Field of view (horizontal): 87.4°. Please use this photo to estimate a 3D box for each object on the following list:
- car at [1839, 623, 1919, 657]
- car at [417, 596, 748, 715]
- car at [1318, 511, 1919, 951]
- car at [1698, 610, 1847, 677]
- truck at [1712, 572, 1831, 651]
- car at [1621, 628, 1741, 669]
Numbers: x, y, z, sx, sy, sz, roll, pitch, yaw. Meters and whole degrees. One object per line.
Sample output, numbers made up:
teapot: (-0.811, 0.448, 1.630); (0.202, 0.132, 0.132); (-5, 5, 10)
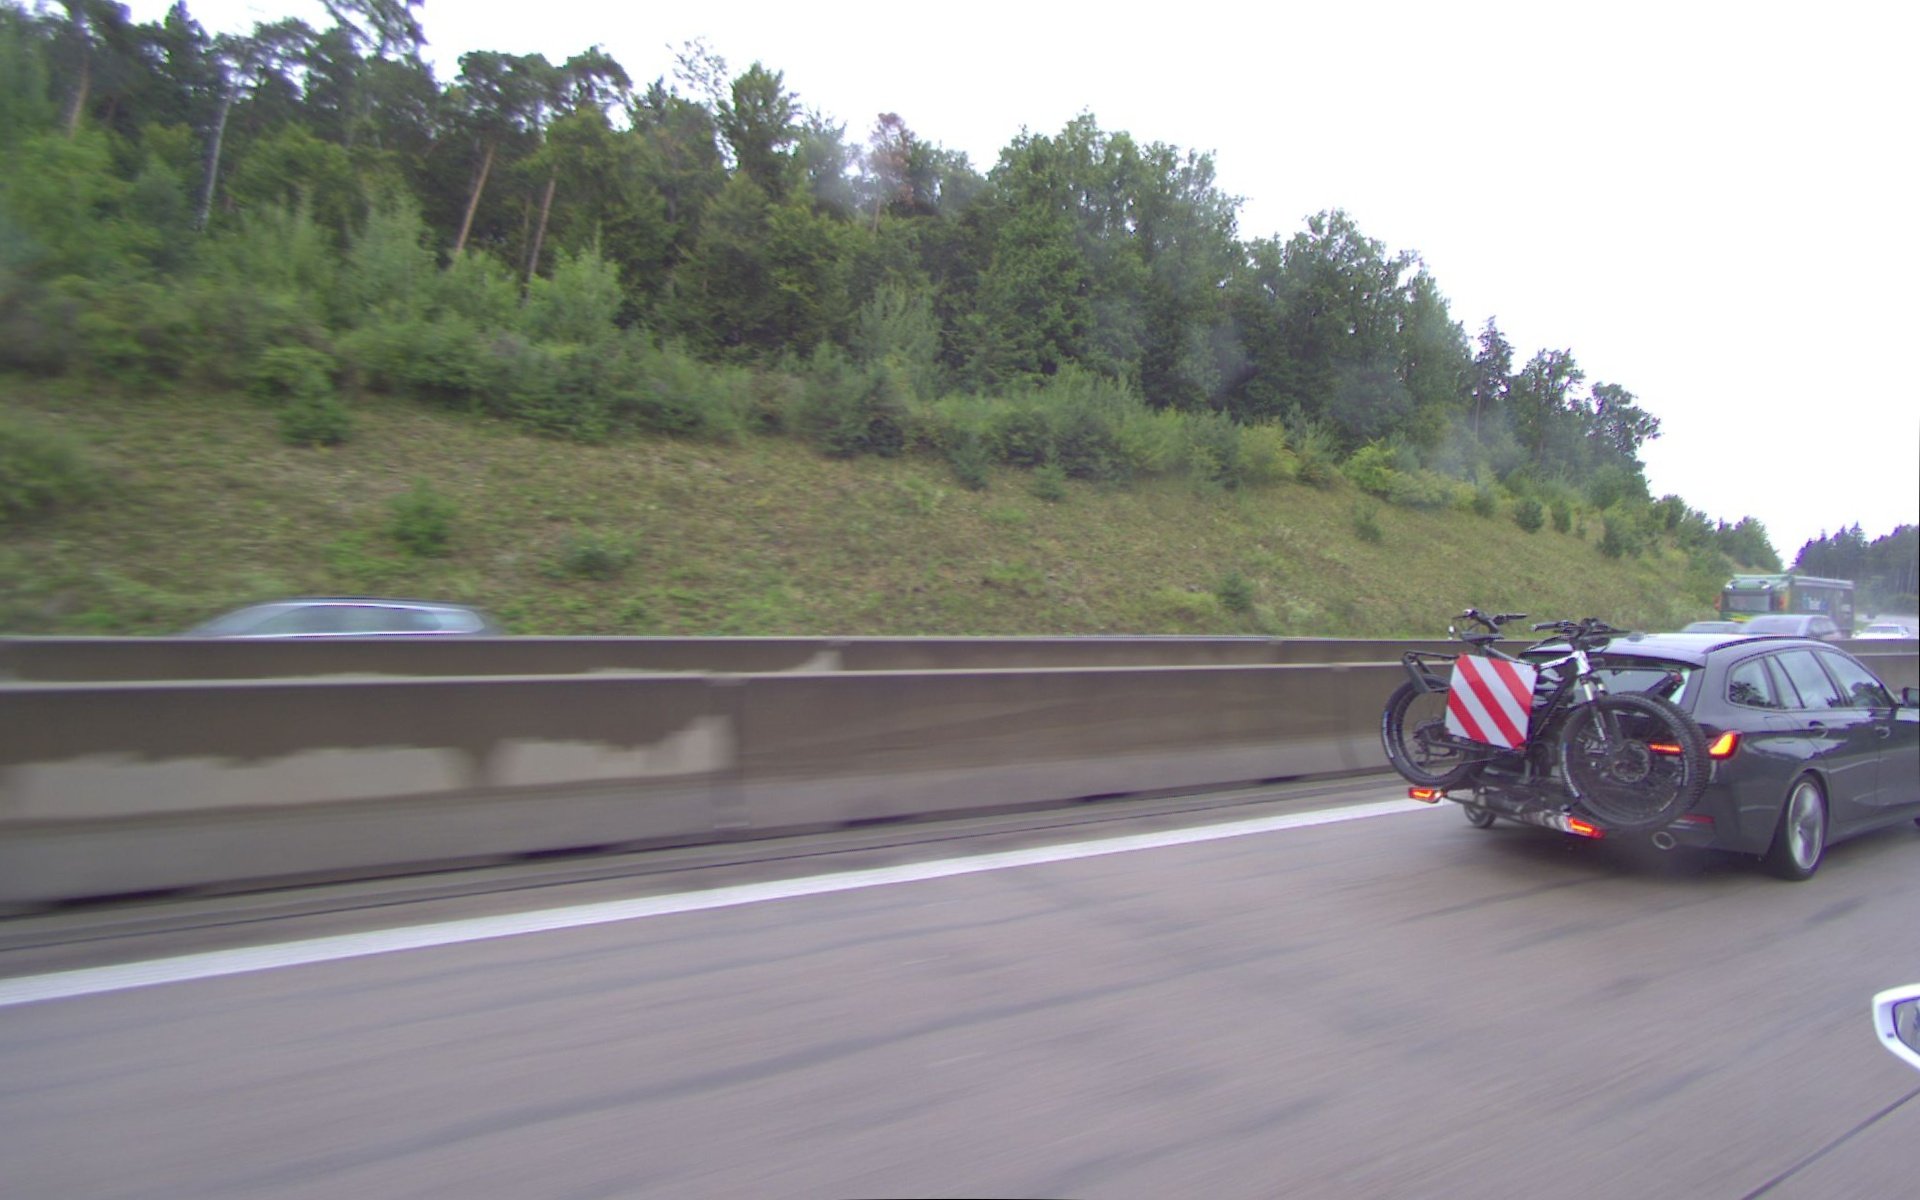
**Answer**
car: (46.601, 2.006, 50.854); (4.721, 1.606, 1.982); (1, 0, -33)
car: (-5.346, 0.731, 14.399); (4.234, 1.507, 1.566); (1, 0, -31)
car: (5.229, 0.647, 7.004); (6.098, 1.971, 1.896); (1, 0, -34)
car: (23.735, 1.229, 29.318); (4.485, 1.791, 1.983); (1, 0, -31)
truck: (44.279, 0.668, 54.720); (8.036, 4.013, 2.908); (1, 0, -35)
car: (24.984, 1.646, 34.763); (4.251, 1.310, 1.982); (1, 0, -33)
